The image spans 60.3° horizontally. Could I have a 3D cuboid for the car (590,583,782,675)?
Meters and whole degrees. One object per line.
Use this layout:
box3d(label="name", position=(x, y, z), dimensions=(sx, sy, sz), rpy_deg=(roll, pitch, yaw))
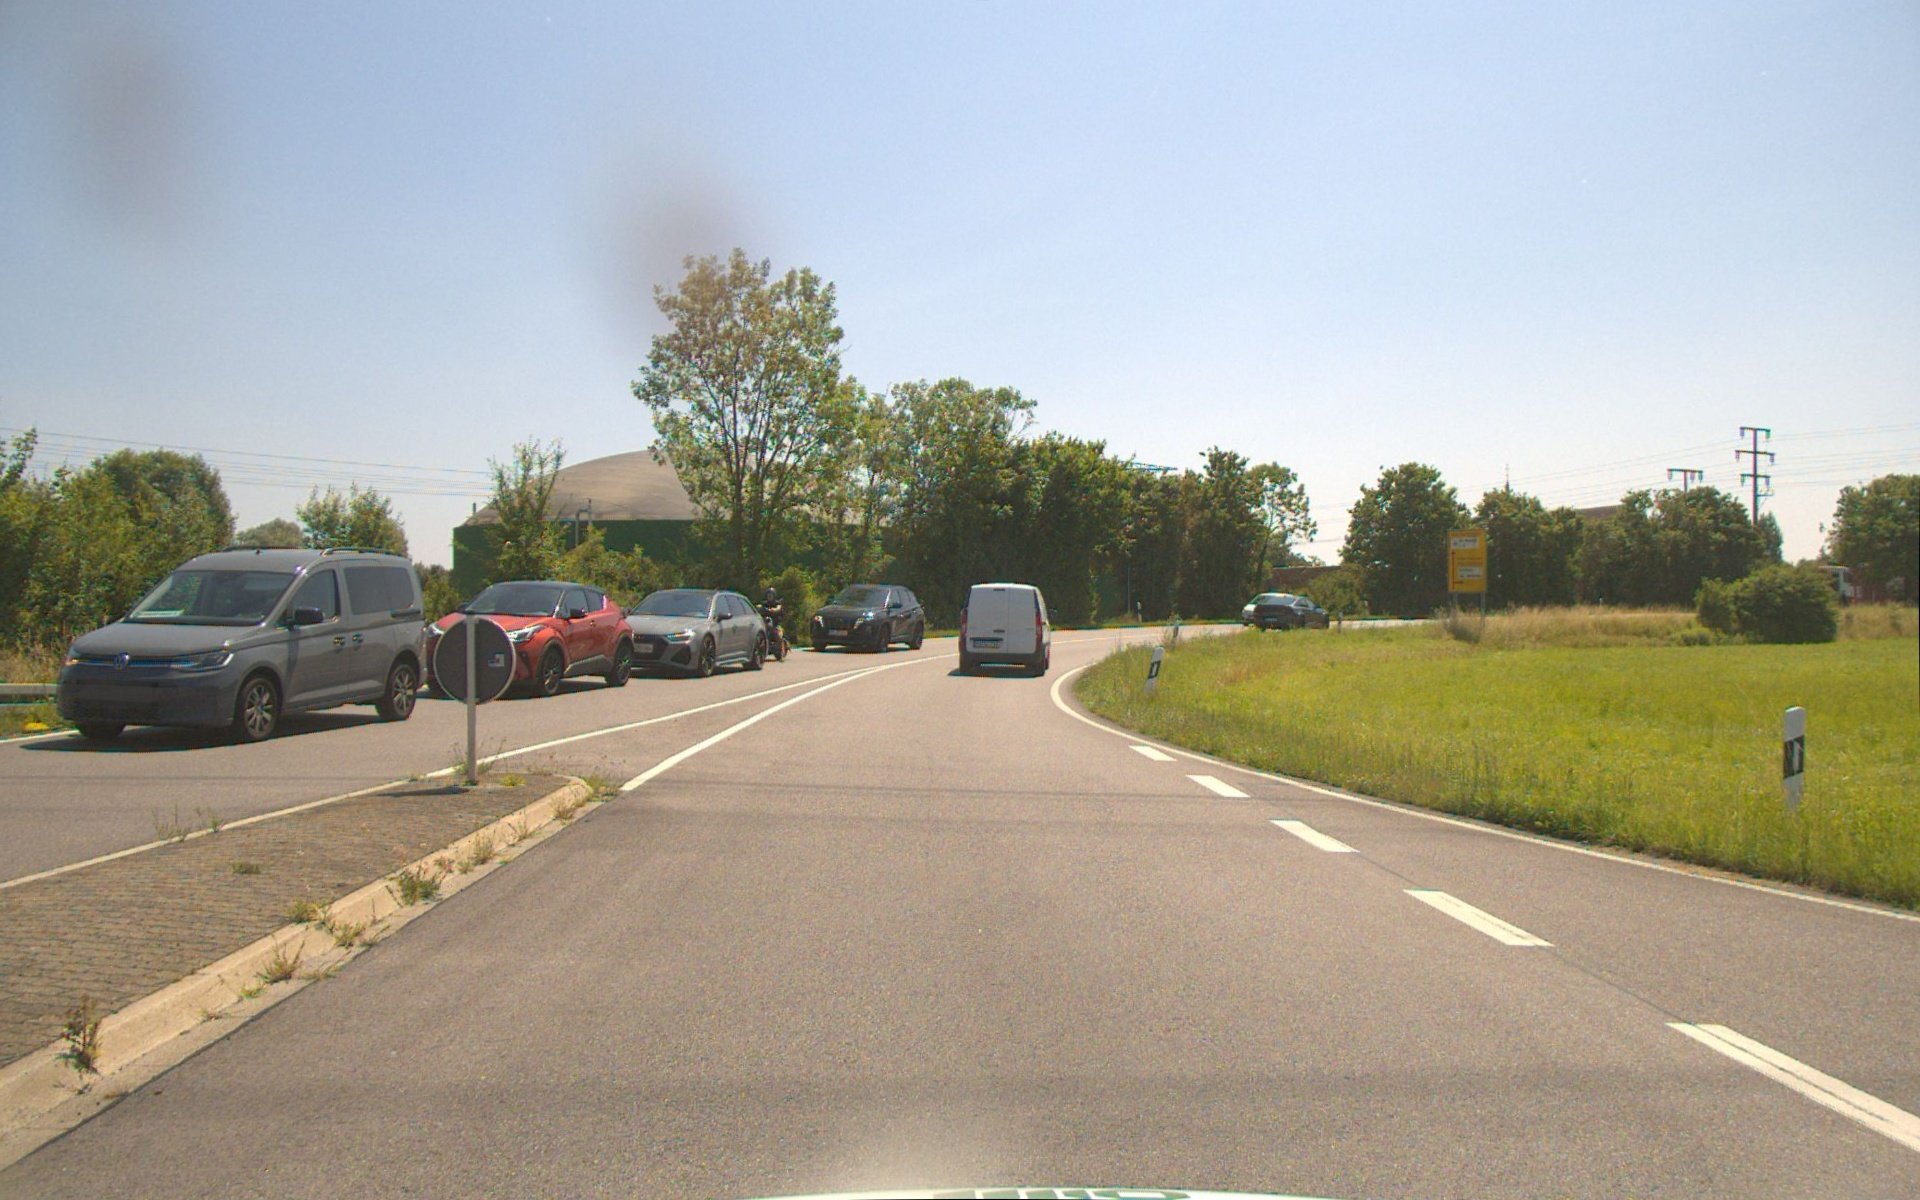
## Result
box3d(label="car", position=(-4.819, 0.498, 29.825), dimensions=(1.802, 1.485, 4.813), rpy_deg=(1, 0, 11))

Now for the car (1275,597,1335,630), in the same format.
box3d(label="car", position=(16.680, 0.661, 79.777), dimensions=(1.510, 1.468, 3.595), rpy_deg=(3, 1, 35))

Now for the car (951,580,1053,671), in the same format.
box3d(label="car", position=(0.926, 0.509, 34.206), dimensions=(1.863, 1.763, 3.824), rpy_deg=(0, -1, 5))

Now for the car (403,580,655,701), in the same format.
box3d(label="car", position=(-6.080, 0.503, 23.916), dimensions=(1.760, 1.542, 4.396), rpy_deg=(1, 1, 11))

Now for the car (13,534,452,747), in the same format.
box3d(label="car", position=(-7.161, 0.375, 16.883), dimensions=(1.885, 1.864, 4.442), rpy_deg=(0, -1, 11))

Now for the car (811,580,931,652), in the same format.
box3d(label="car", position=(-2.166, 0.361, 41.695), dimensions=(1.666, 1.666, 4.252), rpy_deg=(2, 1, 16))

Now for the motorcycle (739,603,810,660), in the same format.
box3d(label="motorcycle", position=(-3.920, 0.642, 35.100), dimensions=(0.765, 1.143, 2.432), rpy_deg=(2, 0, 11))

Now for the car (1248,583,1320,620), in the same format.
box3d(label="car", position=(13.206, 0.076, 67.258), dimensions=(1.688, 1.445, 3.735), rpy_deg=(0, -1, 32))

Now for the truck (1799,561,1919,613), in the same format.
box3d(label="truck", position=(60.961, -0.821, 111.592), dimensions=(8.662, 3.192, 3.084), rpy_deg=(2, 0, -25))

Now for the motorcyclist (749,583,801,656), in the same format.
box3d(label="motorcyclist", position=(-3.916, 0.410, 35.097), dimensions=(0.764, 1.521, 1.132), rpy_deg=(1, 0, 11))
